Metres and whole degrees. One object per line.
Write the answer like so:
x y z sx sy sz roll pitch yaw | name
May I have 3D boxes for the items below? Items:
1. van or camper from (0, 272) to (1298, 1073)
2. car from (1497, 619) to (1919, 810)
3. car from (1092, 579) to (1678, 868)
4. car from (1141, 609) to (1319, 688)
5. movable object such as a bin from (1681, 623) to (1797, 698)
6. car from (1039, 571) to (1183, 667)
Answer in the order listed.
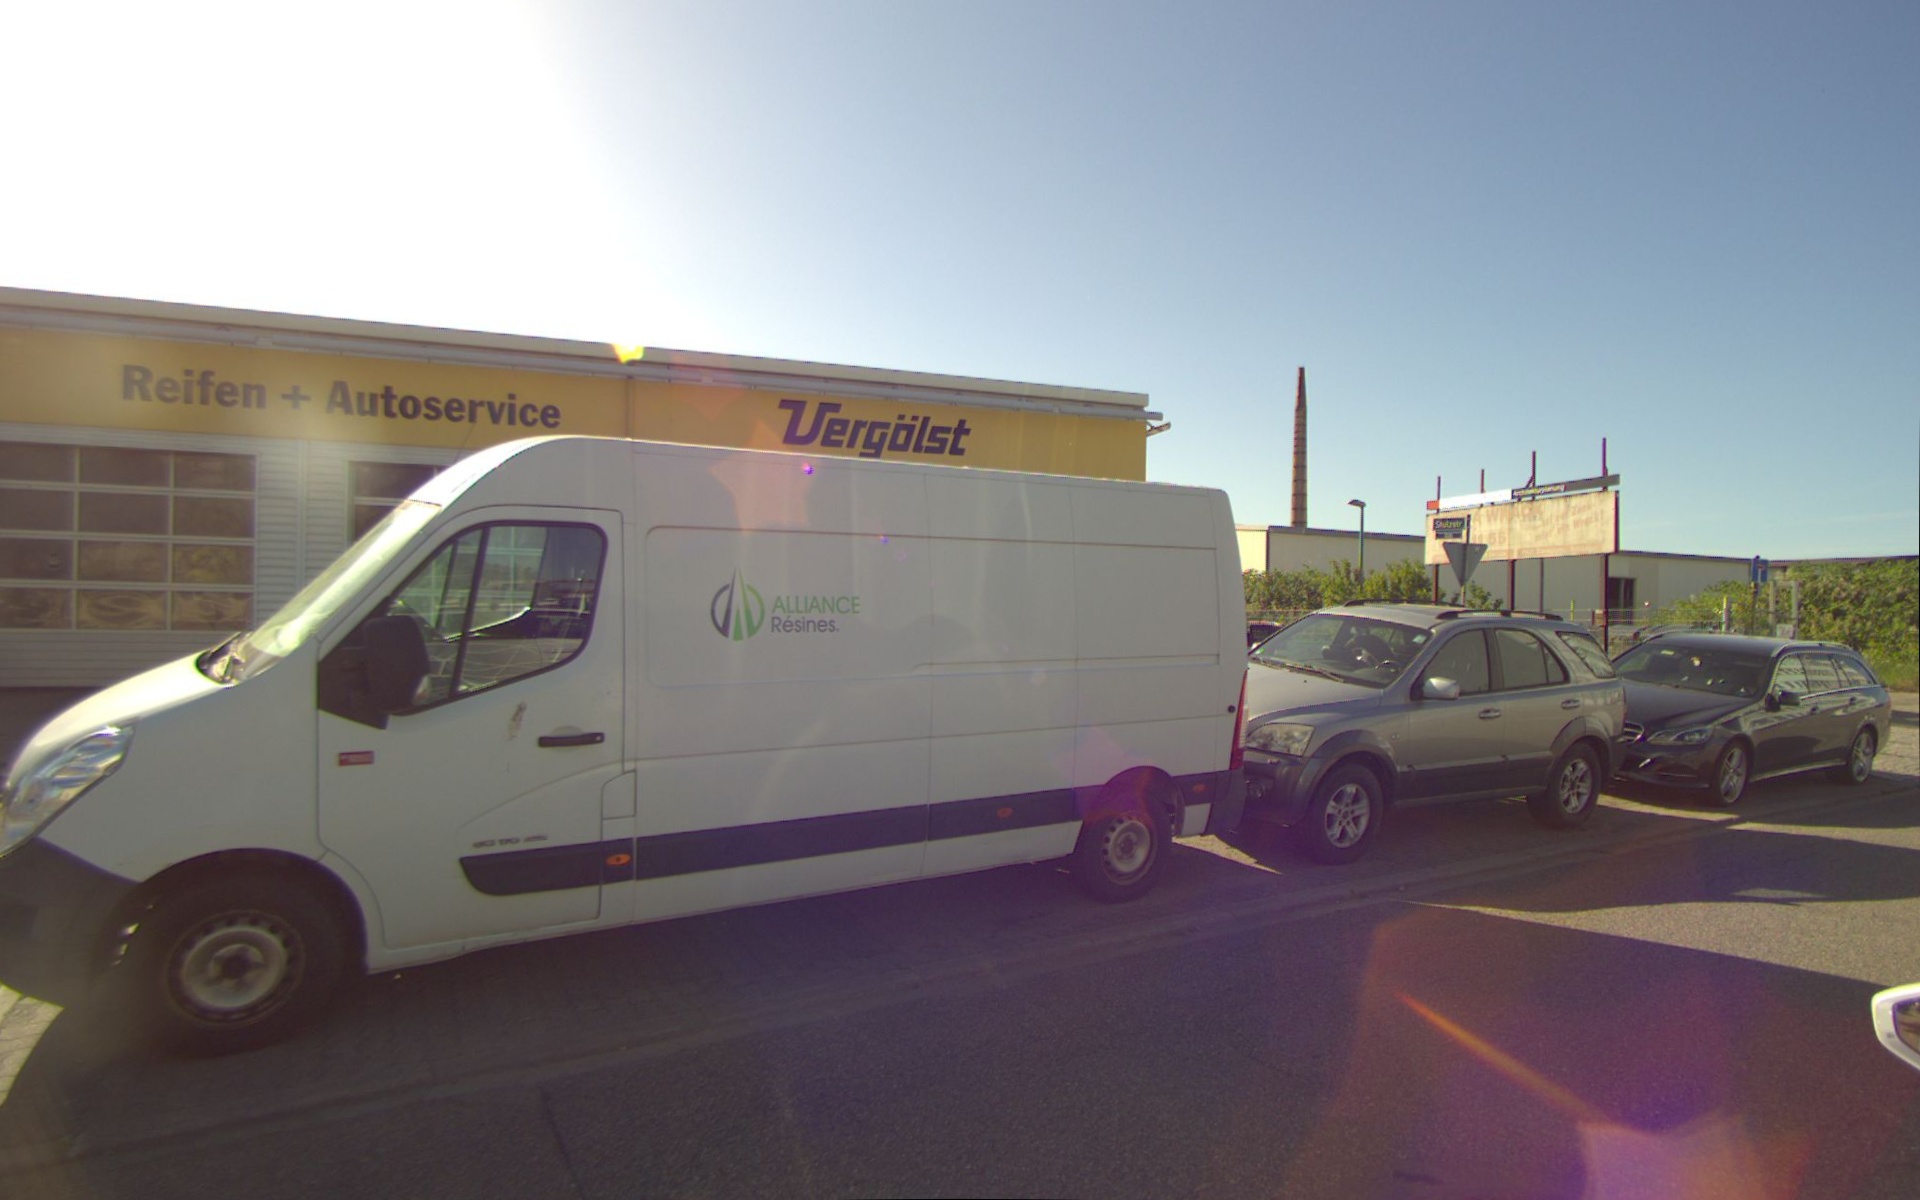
-1.176 0.268 5.581 6.330 2.583 2.059 2 3 -31 | van or camper
8.144 1.094 10.812 4.944 1.530 1.790 2 3 -31 | car
3.563 0.843 8.320 4.517 1.761 1.985 2 3 -28 | car
6.055 1.048 23.034 1.887 1.595 4.152 2 -1 -20 | car
16.003 1.218 20.694 1.074 1.424 1.623 2 0 -2 | movable object such as a bin
4.132 0.523 28.640 2.168 2.438 5.443 2 -1 -13 | car
